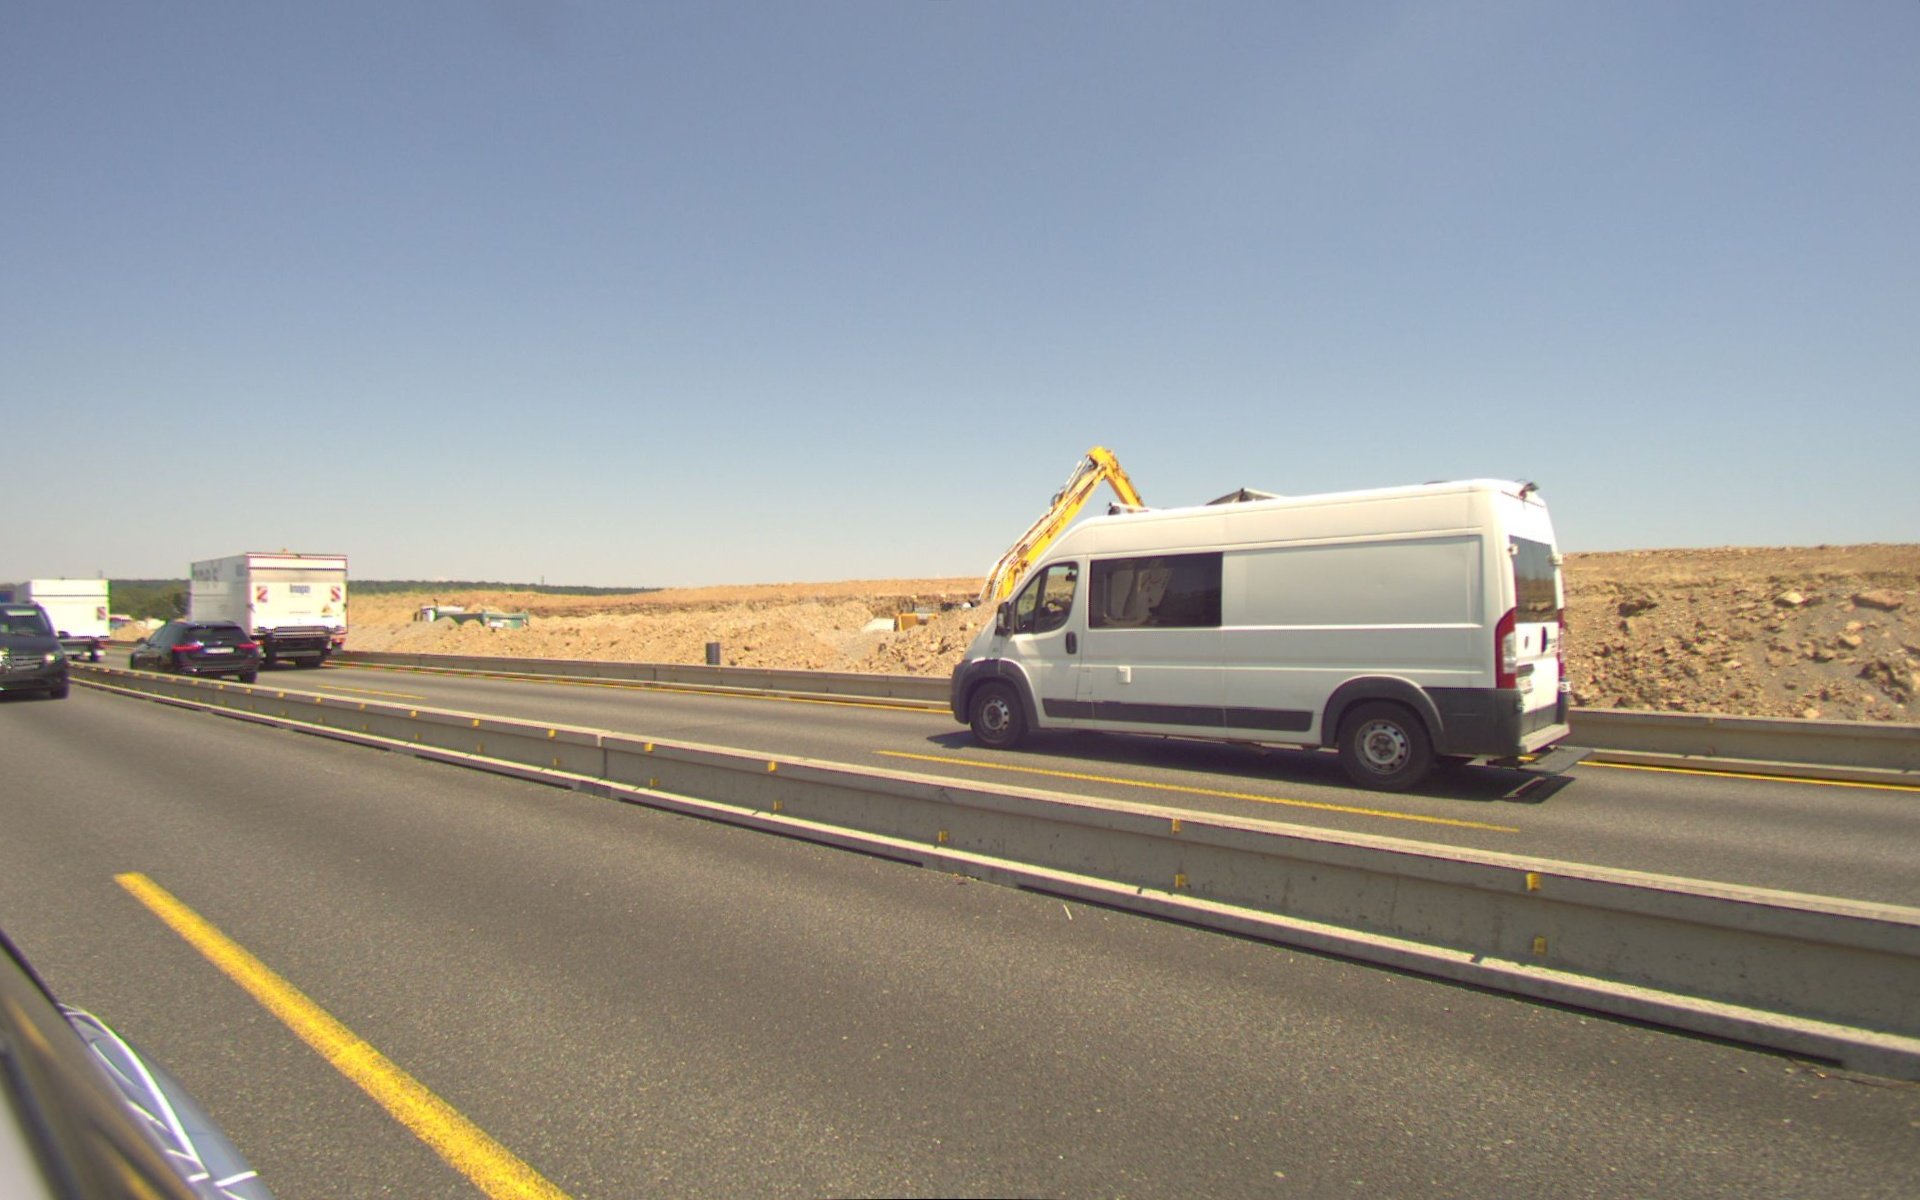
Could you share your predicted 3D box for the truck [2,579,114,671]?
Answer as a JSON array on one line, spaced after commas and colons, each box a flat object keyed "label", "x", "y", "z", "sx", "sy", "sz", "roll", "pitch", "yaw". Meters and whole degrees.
[{"label": "truck", "x": -34.099, "y": 0.904, "z": 38.171, "sx": 7.310, "sy": 3.173, "sz": 2.247, "roll": -1, "pitch": 0, "yaw": 41}]

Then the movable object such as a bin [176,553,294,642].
[{"label": "movable object such as a bin", "x": -60.920, "y": -0.207, "z": 85.152, "sx": 4.079, "sy": 7.167, "sz": 7.284, "roll": -1, "pitch": 0, "yaw": 41}]

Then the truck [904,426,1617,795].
[{"label": "truck", "x": 2.507, "y": 0.183, "z": 9.952, "sx": 6.349, "sy": 2.589, "sz": 2.077, "roll": -3, "pitch": -1, "yaw": 40}]

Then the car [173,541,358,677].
[{"label": "car", "x": -21.953, "y": 0.334, "z": 31.782, "sx": 8.086, "sy": 3.769, "sz": 2.878, "roll": -2, "pitch": -1, "yaw": 41}]

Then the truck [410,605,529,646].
[{"label": "truck", "x": -27.363, "y": 1.371, "z": 56.197, "sx": 8.796, "sy": 2.074, "sz": 2.536, "roll": -1, "pitch": 0, "yaw": 40}]

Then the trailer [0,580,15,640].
[{"label": "trailer", "x": -79.662, "y": 0.849, "z": 82.343, "sx": 12.881, "sy": 4.631, "sz": 2.953, "roll": -1, "pitch": 0, "yaw": 42}]

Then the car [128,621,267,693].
[{"label": "car", "x": -18.173, "y": 1.275, "z": 24.046, "sx": 4.559, "sy": 1.493, "sz": 1.770, "roll": -1, "pitch": 0, "yaw": 41}]

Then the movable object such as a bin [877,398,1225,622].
[{"label": "movable object such as a bin", "x": 4.455, "y": -2.782, "z": 38.742, "sx": 3.386, "sy": 6.823, "sz": 18.033, "roll": -1, "pitch": 0, "yaw": 41}]

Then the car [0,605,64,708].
[{"label": "car", "x": -19.604, "y": 1.068, "z": 20.248, "sx": 5.476, "sy": 1.865, "sz": 1.854, "roll": -1, "pitch": 0, "yaw": 41}]
